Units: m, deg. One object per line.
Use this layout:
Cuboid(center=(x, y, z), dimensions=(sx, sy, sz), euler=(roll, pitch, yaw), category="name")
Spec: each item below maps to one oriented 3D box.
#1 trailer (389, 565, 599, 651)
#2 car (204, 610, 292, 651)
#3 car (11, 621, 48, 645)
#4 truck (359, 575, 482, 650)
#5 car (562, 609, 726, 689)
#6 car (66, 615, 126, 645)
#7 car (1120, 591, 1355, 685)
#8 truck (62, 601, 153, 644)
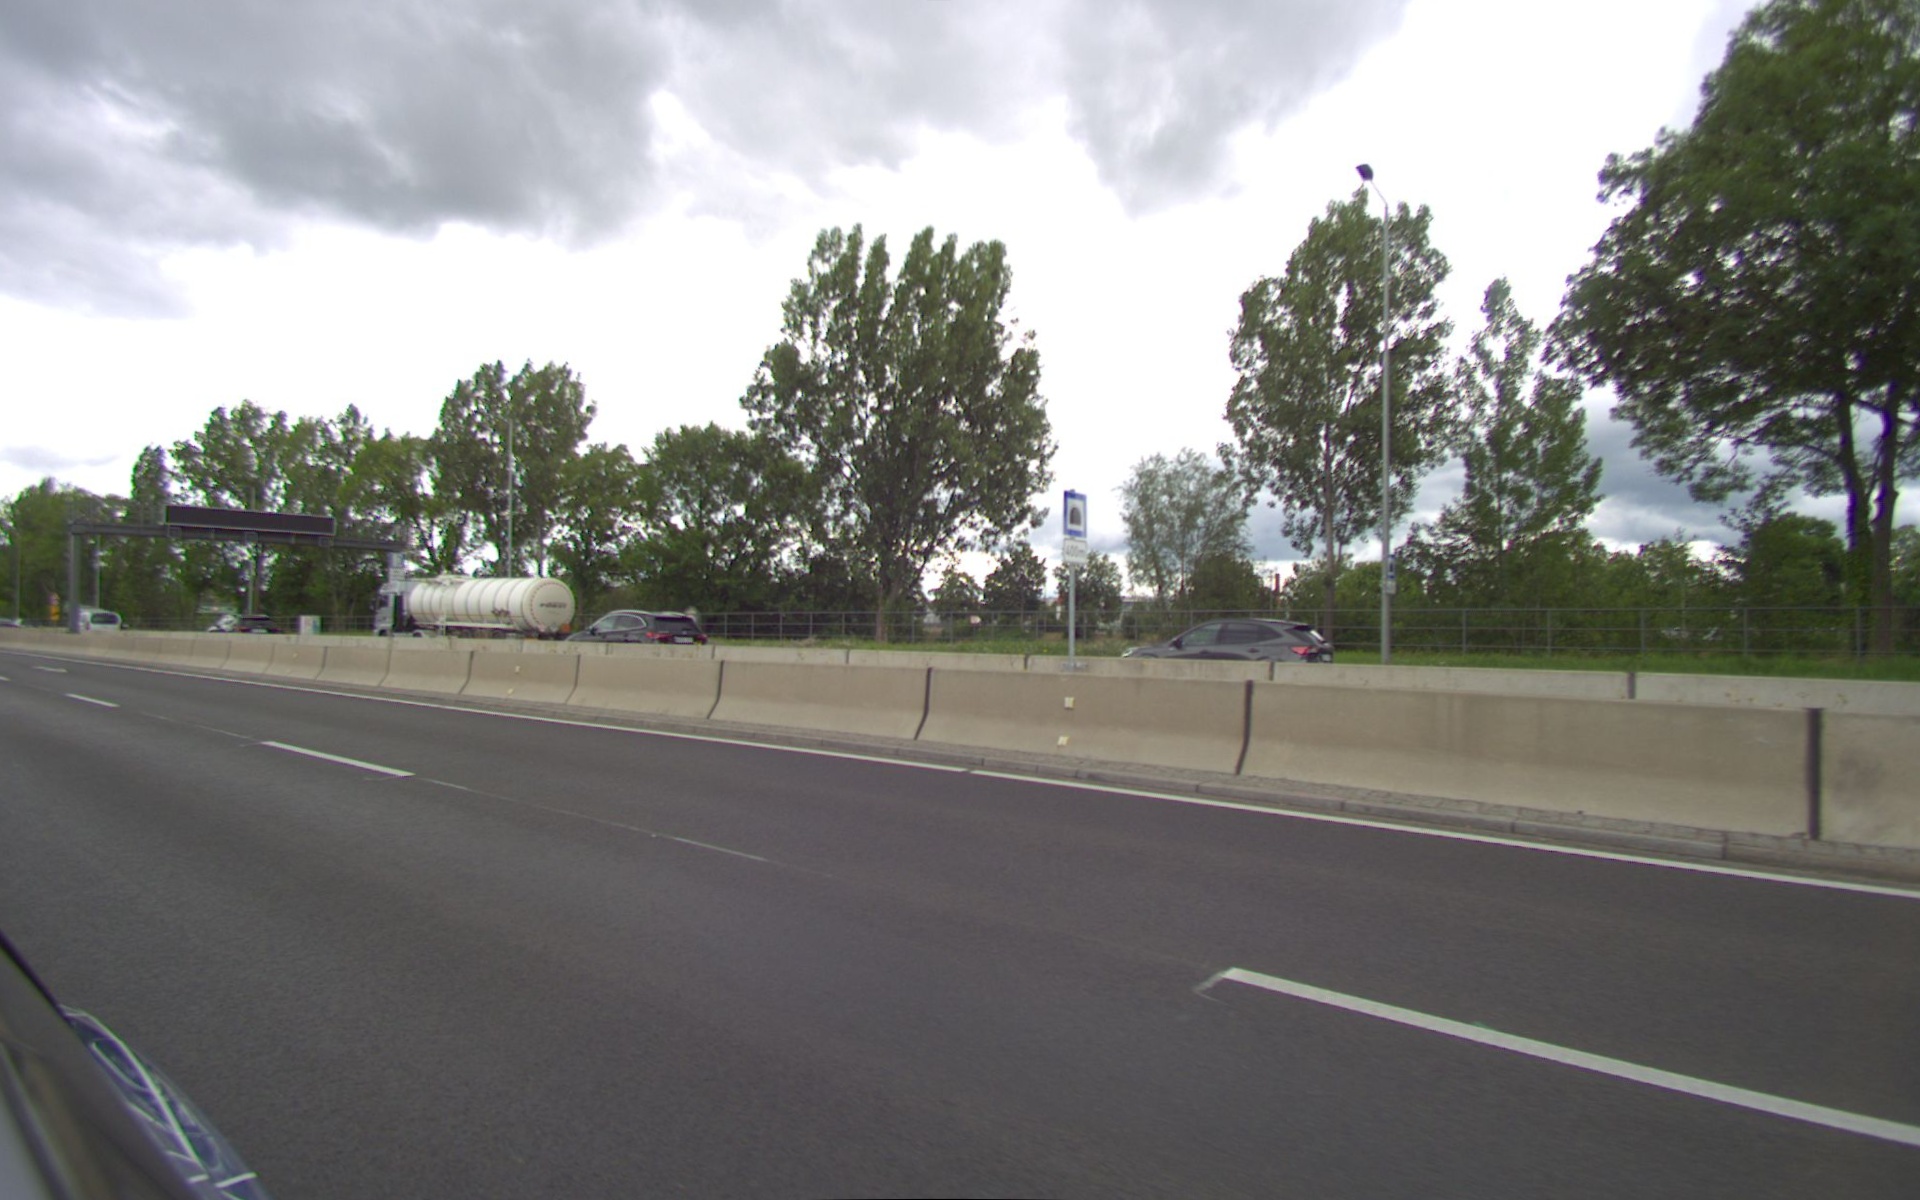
Cuboid(center=(-19.977, 0.425, 42.875), dimensions=(11.651, 3.244, 3.071), euler=(-2, 0, 38), category="trailer")
Cuboid(center=(-30.587, 1.298, 43.419), dimensions=(4.694, 1.630, 1.973), euler=(-2, 0, 41), category="car")
Cuboid(center=(-77.371, 2.729, 84.132), dimensions=(4.098, 1.891, 1.798), euler=(-2, 0, 41), category="car")
Cuboid(center=(-24.964, 0.576, 46.775), dimensions=(5.384, 3.243, 3.069), euler=(-2, 0, 38), category="truck")
Cuboid(center=(-7.759, 1.142, 24.706), dimensions=(3.997, 1.752, 1.973), euler=(-2, 0, 41), category="car")
Cuboid(center=(-50.727, 1.751, 59.399), dimensions=(4.694, 1.630, 1.973), euler=(-2, 0, 41), category="car")
Cuboid(center=(5.739, 0.755, 21.191), dimensions=(4.301, 1.752, 1.973), euler=(-2, 0, 41), category="car")
Cuboid(center=(-69.687, 1.883, 82.526), dimensions=(15.869, 3.130, 2.826), euler=(-2, 0, 40), category="truck")
